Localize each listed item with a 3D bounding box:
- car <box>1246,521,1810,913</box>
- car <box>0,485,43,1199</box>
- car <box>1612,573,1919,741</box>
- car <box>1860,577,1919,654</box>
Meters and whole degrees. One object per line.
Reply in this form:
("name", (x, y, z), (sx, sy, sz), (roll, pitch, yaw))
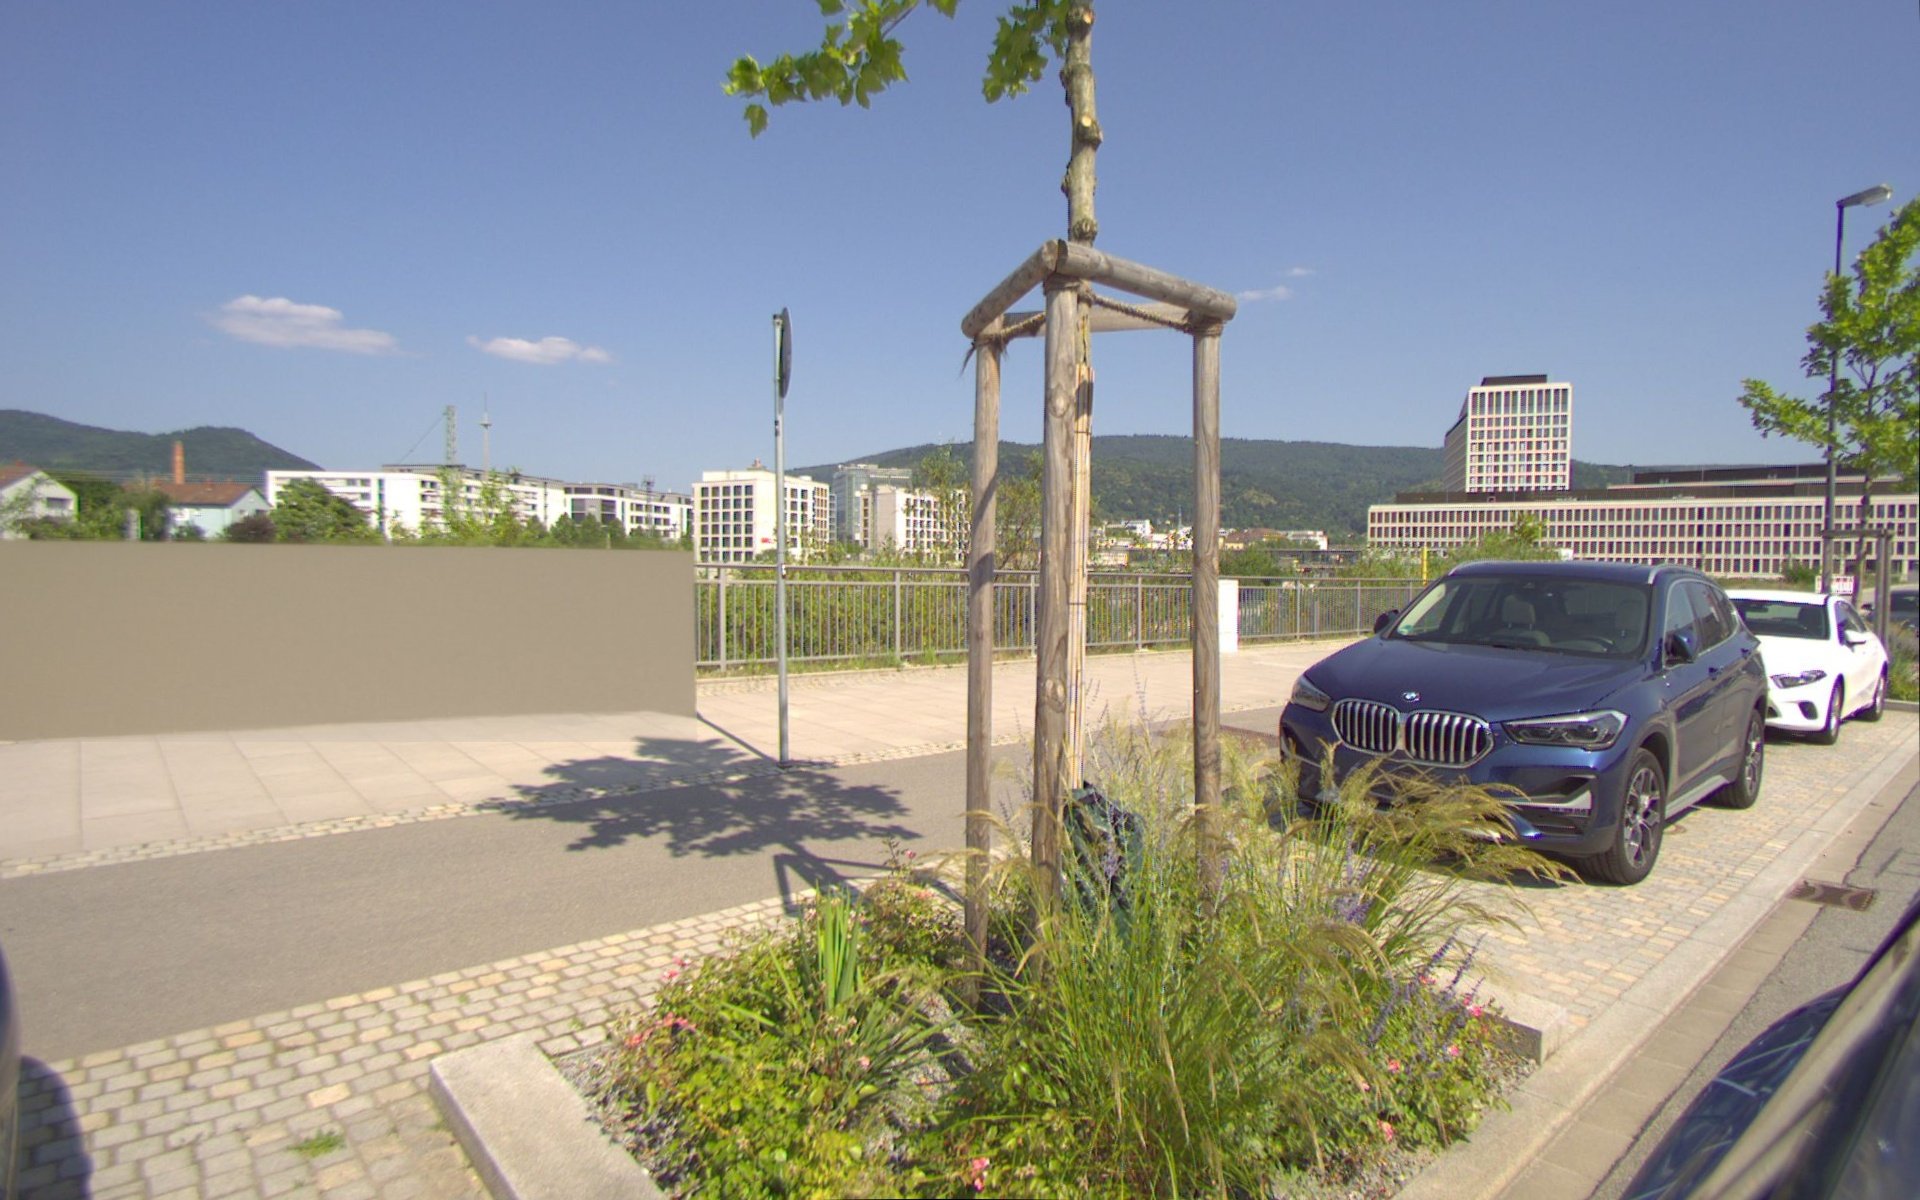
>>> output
("car", (3.810, 0.420, 6.452), (4.197, 1.703, 1.807), (-1, 4, -41))
("car", (-2.840, 0.609, 0.500), (3.485, 1.574, 1.585), (0, 4, -42))
("car", (8.853, 0.459, 10.991), (4.194, 1.390, 1.711), (-1, 5, -39))
("car", (20.248, 0.301, 21.018), (3.849, 1.449, 1.808), (-1, 5, -41))
